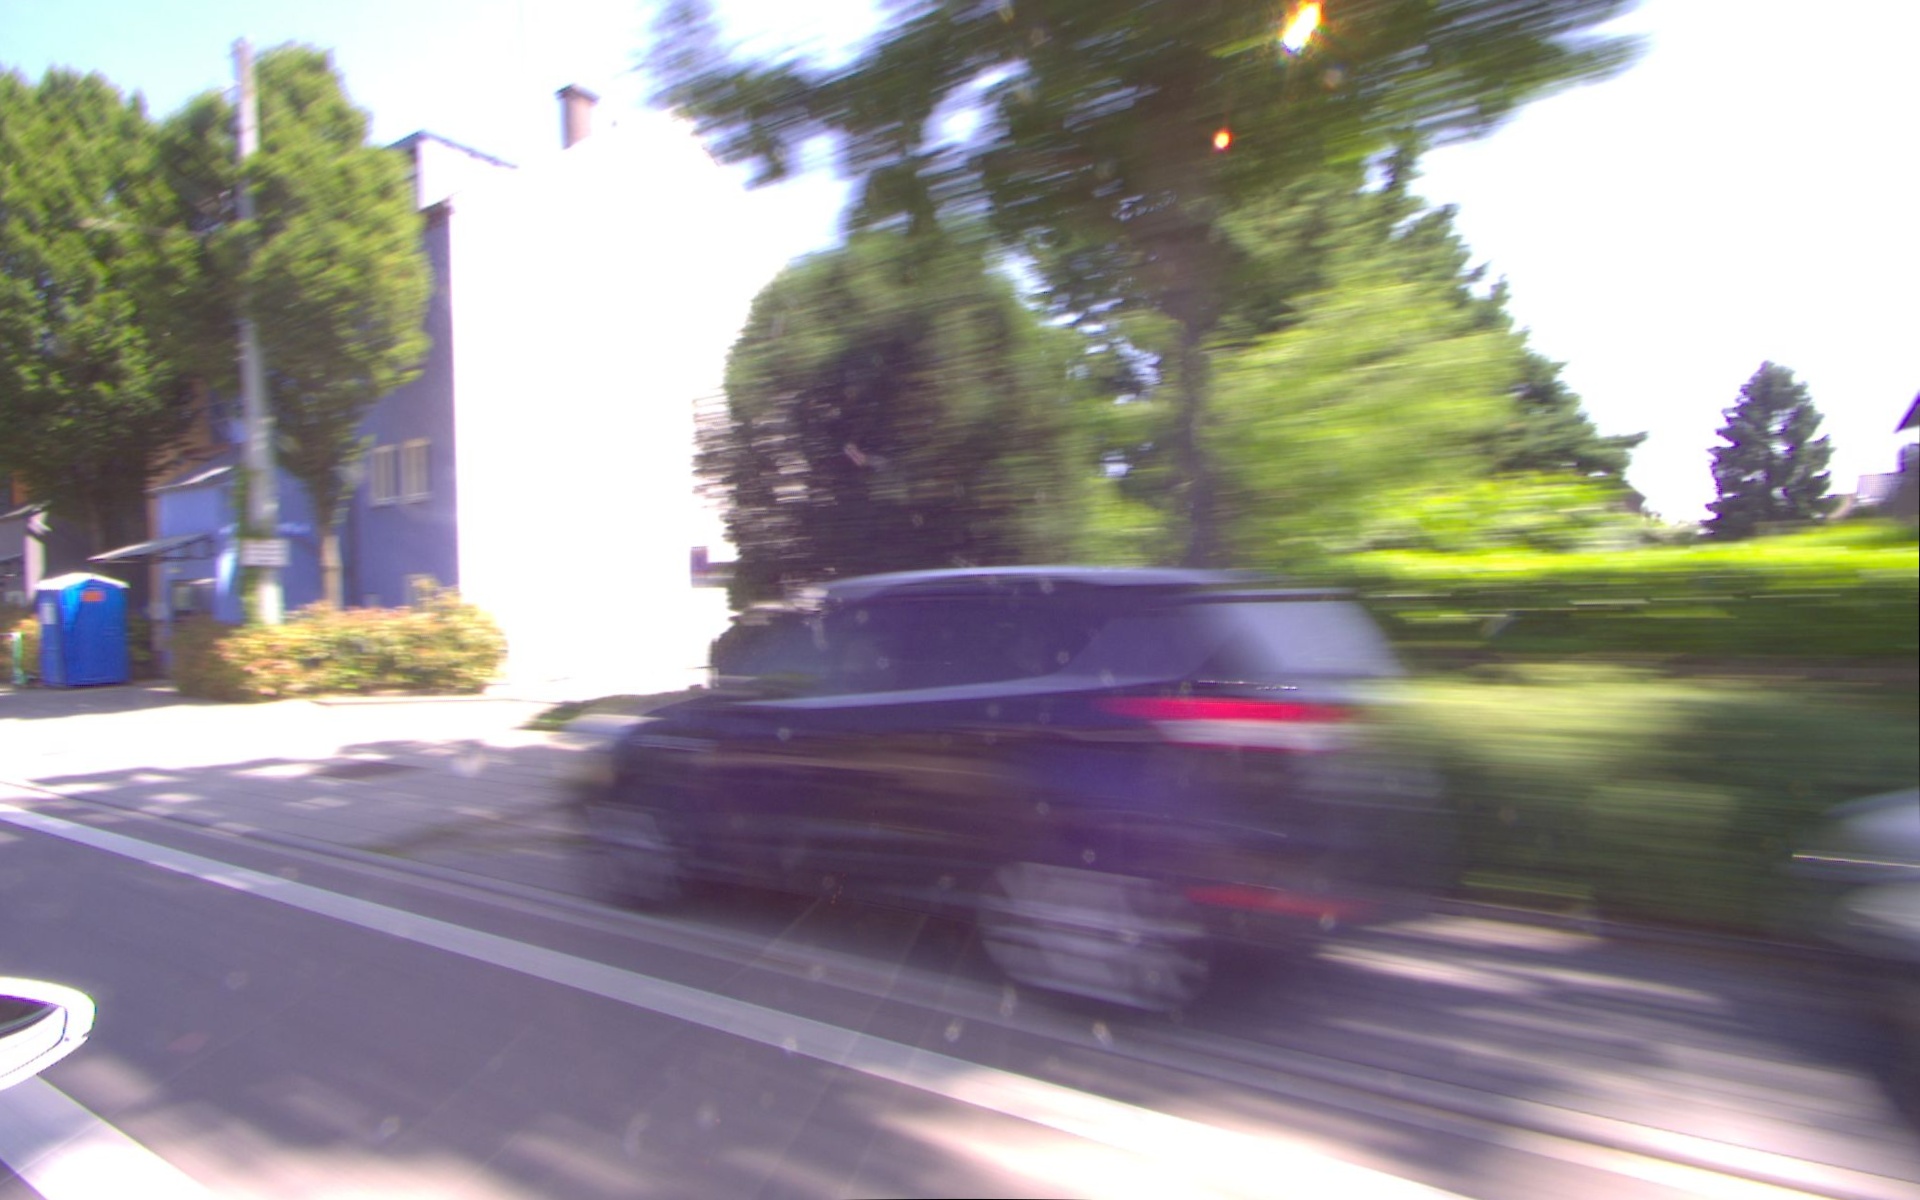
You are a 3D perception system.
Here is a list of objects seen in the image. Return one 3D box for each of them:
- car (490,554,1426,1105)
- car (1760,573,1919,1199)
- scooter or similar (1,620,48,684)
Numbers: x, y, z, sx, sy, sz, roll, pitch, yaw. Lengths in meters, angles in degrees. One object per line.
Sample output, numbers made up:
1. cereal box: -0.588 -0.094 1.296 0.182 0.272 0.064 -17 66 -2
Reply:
1. car: -0.227 0.698 5.159 4.561 1.730 1.835 0 3 34
2. car: 4.657 0.700 2.177 4.288 1.550 1.837 0 3 30
3. scooter or similar: -19.375 1.065 20.736 1.319 1.296 0.383 0 -1 32
